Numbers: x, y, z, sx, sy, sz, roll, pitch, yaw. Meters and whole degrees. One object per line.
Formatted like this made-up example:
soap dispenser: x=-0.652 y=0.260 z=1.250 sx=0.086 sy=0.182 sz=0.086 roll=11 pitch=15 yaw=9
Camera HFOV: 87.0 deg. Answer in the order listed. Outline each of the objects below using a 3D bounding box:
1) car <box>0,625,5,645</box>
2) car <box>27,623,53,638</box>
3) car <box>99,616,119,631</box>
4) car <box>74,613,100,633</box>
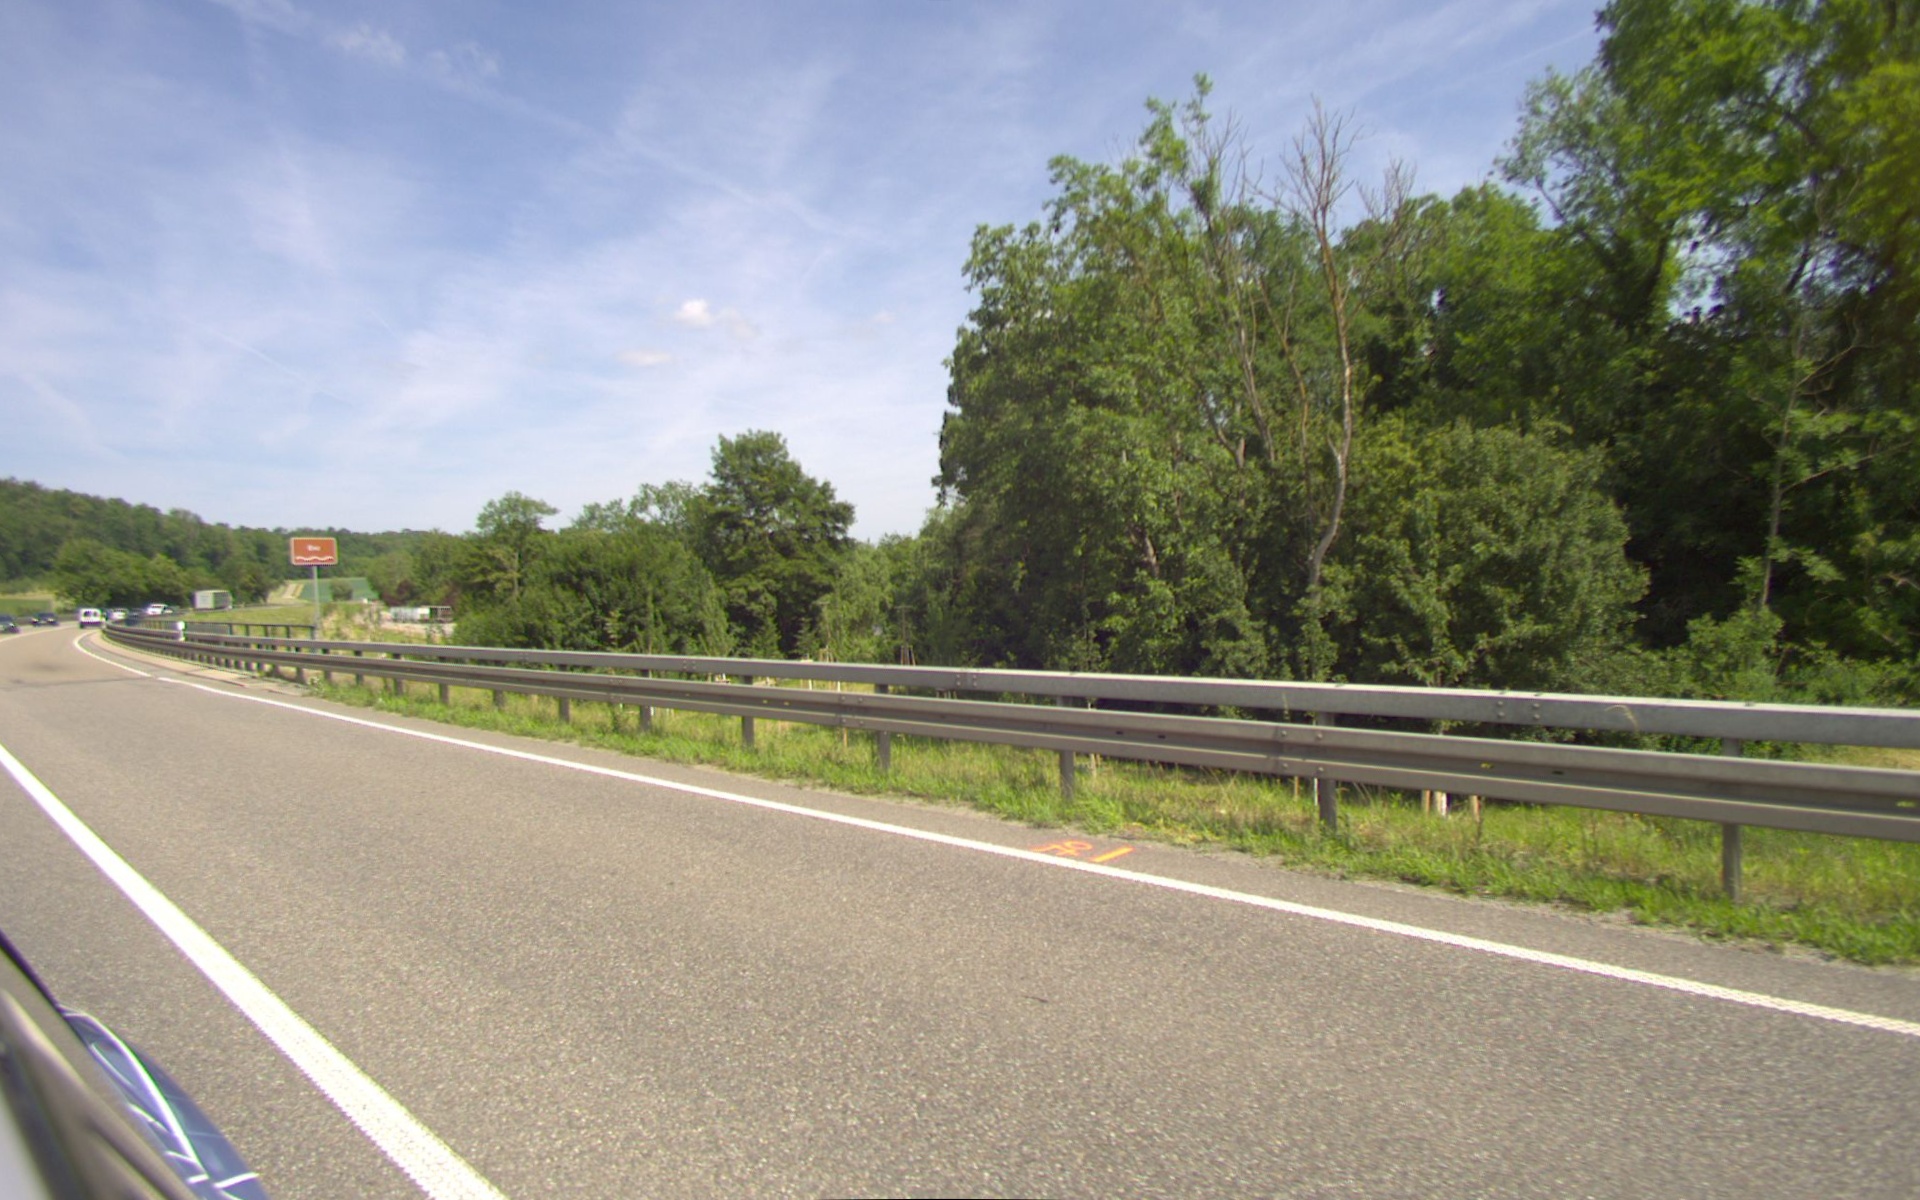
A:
car: x=-74.235 y=2.714 z=77.435 sx=1.718 sy=1.465 sz=4.040 roll=-1 pitch=0 yaw=-43
car: x=-92.284 y=3.035 z=101.537 sx=1.717 sy=1.465 sz=4.042 roll=-1 pitch=0 yaw=-40
car: x=-99.942 y=2.736 z=118.881 sx=1.717 sy=1.623 sz=3.814 roll=-1 pitch=0 yaw=-40
car: x=-81.226 y=2.083 z=94.194 sx=1.716 sy=1.788 sz=4.043 roll=-1 pitch=0 yaw=-40
